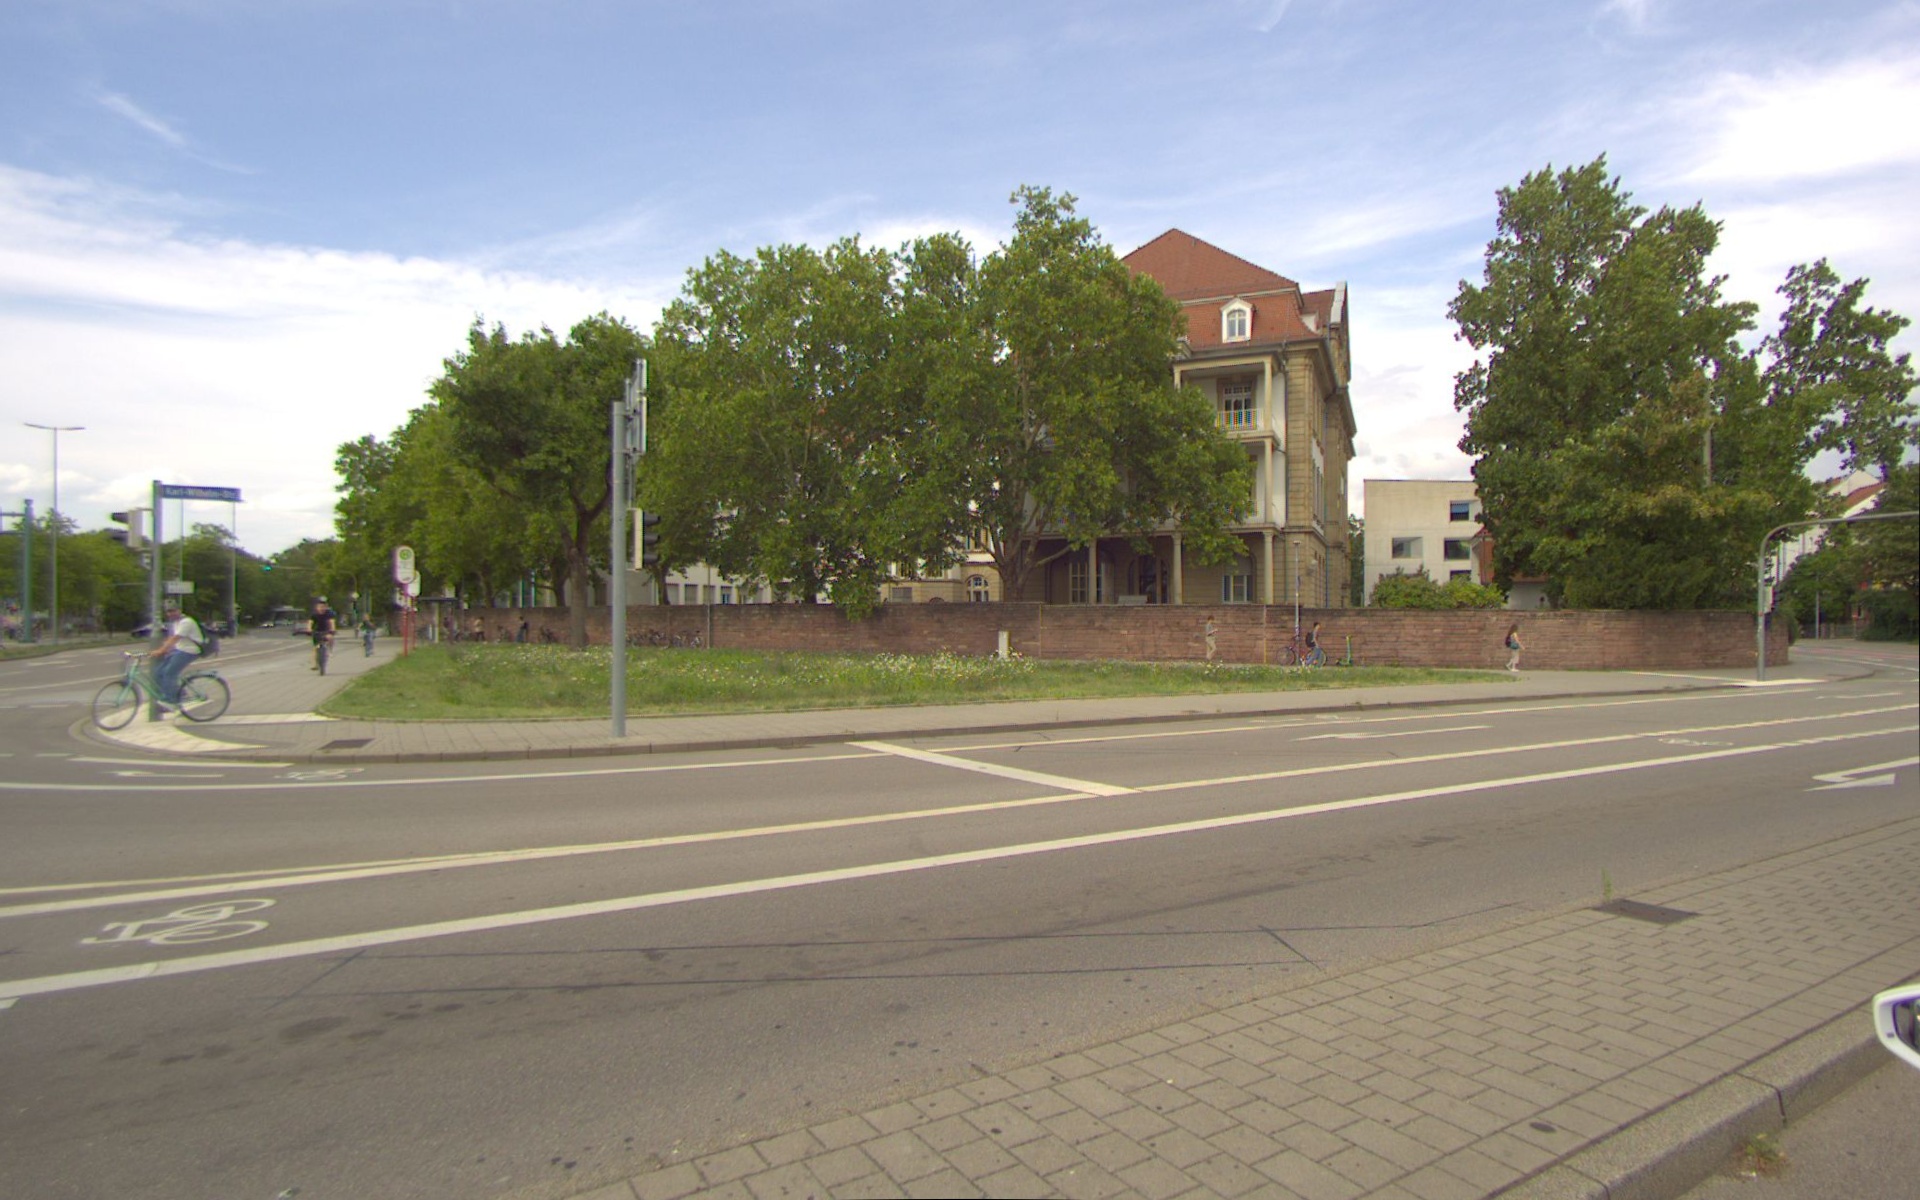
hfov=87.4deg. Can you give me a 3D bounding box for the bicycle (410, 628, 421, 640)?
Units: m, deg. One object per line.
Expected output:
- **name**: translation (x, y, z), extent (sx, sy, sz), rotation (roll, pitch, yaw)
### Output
- **bicycle**: translation (-44.052, 2.757, 81.225), extent (0.429, 0.899, 1.558), rotation (-4, 1, -39)

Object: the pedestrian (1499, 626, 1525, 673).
- **pedestrian**: translation (20.177, 1.794, 36.695), extent (0.618, 1.677, 0.531), rotation (-2, 1, -2)

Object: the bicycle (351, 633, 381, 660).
- **bicycle**: translation (-23.479, 1.815, 39.713), extent (0.497, 0.948, 1.965), rotation (0, 1, -14)

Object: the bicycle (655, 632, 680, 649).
- **bicycle**: translation (-15.291, 2.133, 52.532), extent (1.864, 0.875, 0.357), rotation (-2, -4, 43)

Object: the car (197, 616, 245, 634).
- **car**: translation (-67.390, 2.293, 91.601), extent (4.053, 1.509, 1.788), rotation (1, -2, 26)

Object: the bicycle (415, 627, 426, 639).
- **bicycle**: translation (-42.871, 2.635, 79.772), extent (0.429, 0.899, 1.558), rotation (-4, 1, -39)

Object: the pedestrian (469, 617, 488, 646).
- **pedestrian**: translation (-28.567, 1.875, 59.583), extent (0.655, 1.643, 0.751), rotation (-1, 1, 38)

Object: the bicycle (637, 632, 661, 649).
- **bicycle**: translation (-16.659, 2.167, 53.784), extent (1.783, 0.875, 0.357), rotation (-1, -4, 42)

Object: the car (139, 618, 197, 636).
- **car**: translation (-75.040, 2.572, 95.196), extent (4.047, 1.509, 1.791), rotation (2, -1, 2)

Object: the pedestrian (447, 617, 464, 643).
- **pedestrian**: translation (-33.318, 1.982, 66.304), extent (0.655, 1.643, 0.751), rotation (-1, 1, 38)

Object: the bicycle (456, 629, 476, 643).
- **bicycle**: translation (-33.957, 2.455, 69.047), extent (1.554, 0.899, 0.658), rotation (-2, 1, 42)

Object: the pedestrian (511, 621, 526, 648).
- **pedestrian**: translation (-27.459, 2.133, 62.503), extent (0.743, 1.643, 0.566), rotation (-1, 1, 40)

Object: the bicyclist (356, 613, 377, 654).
- **bicyclist**: translation (-23.511, 1.310, 39.817), extent (0.486, 1.576, 0.795), rotation (0, 1, -14)

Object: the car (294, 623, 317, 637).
- **car**: translation (-75.833, 3.421, 116.399), extent (1.678, 1.500, 4.386), rotation (-2, 0, -27)

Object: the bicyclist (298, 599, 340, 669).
- **bicyclist**: translation (-14.750, 0.773, 23.142), extent (0.570, 1.576, 0.795), rotation (0, 1, -14)

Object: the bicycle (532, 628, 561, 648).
- **bicycle**: translation (-24.894, 2.278, 60.451), extent (2.067, 1.204, 0.755), rotation (-1, -3, 40)

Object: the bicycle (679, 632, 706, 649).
- **bicycle**: translation (-13.841, 2.094, 51.895), extent (1.681, 0.875, 0.357), rotation (-1, -3, 36)

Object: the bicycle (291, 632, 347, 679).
- **bicycle**: translation (-14.817, 1.254, 23.265), extent (0.497, 0.948, 1.965), rotation (0, 1, -14)

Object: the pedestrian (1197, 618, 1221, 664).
- **pedestrian**: translation (9.451, 1.545, 38.115), extent (0.766, 1.677, 0.577), rotation (-1, 1, 7)

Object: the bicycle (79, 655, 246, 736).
- **bicycle**: translation (-11.441, 1.337, 14.502), extent (0.496, 0.948, 1.972), rotation (1, 1, 15)

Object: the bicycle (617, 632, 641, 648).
- **bicycle**: translation (-18.094, 2.199, 54.897), extent (1.794, 0.875, 0.357), rotation (-1, -3, 39)

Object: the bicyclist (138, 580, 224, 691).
- **bicyclist**: translation (-11.385, 0.492, 14.698), extent (0.568, 1.576, 0.798), rotation (1, 1, 15)

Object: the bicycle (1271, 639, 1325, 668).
- **bicycle**: translation (12.733, 2.008, 37.851), extent (1.888, 1.018, 0.779), rotation (-2, 1, 17)

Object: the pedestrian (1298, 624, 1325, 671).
- **pedestrian**: translation (12.701, 1.714, 36.320), extent (0.766, 1.677, 0.577), rotation (-2, 1, 2)

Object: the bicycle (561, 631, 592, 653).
- **bicycle**: translation (-22.110, 2.411, 57.897), extent (2.067, 1.204, 0.755), rotation (-1, -3, 40)

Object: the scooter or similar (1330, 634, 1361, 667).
- **scooter or similar**: translation (14.403, 1.870, 37.495), extent (0.513, 1.154, 1.509), rotation (-1, 1, 45)

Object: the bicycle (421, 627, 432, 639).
- **bicycle**: translation (-41.697, 2.607, 78.523), extent (0.429, 0.899, 1.558), rotation (-4, 1, -39)
